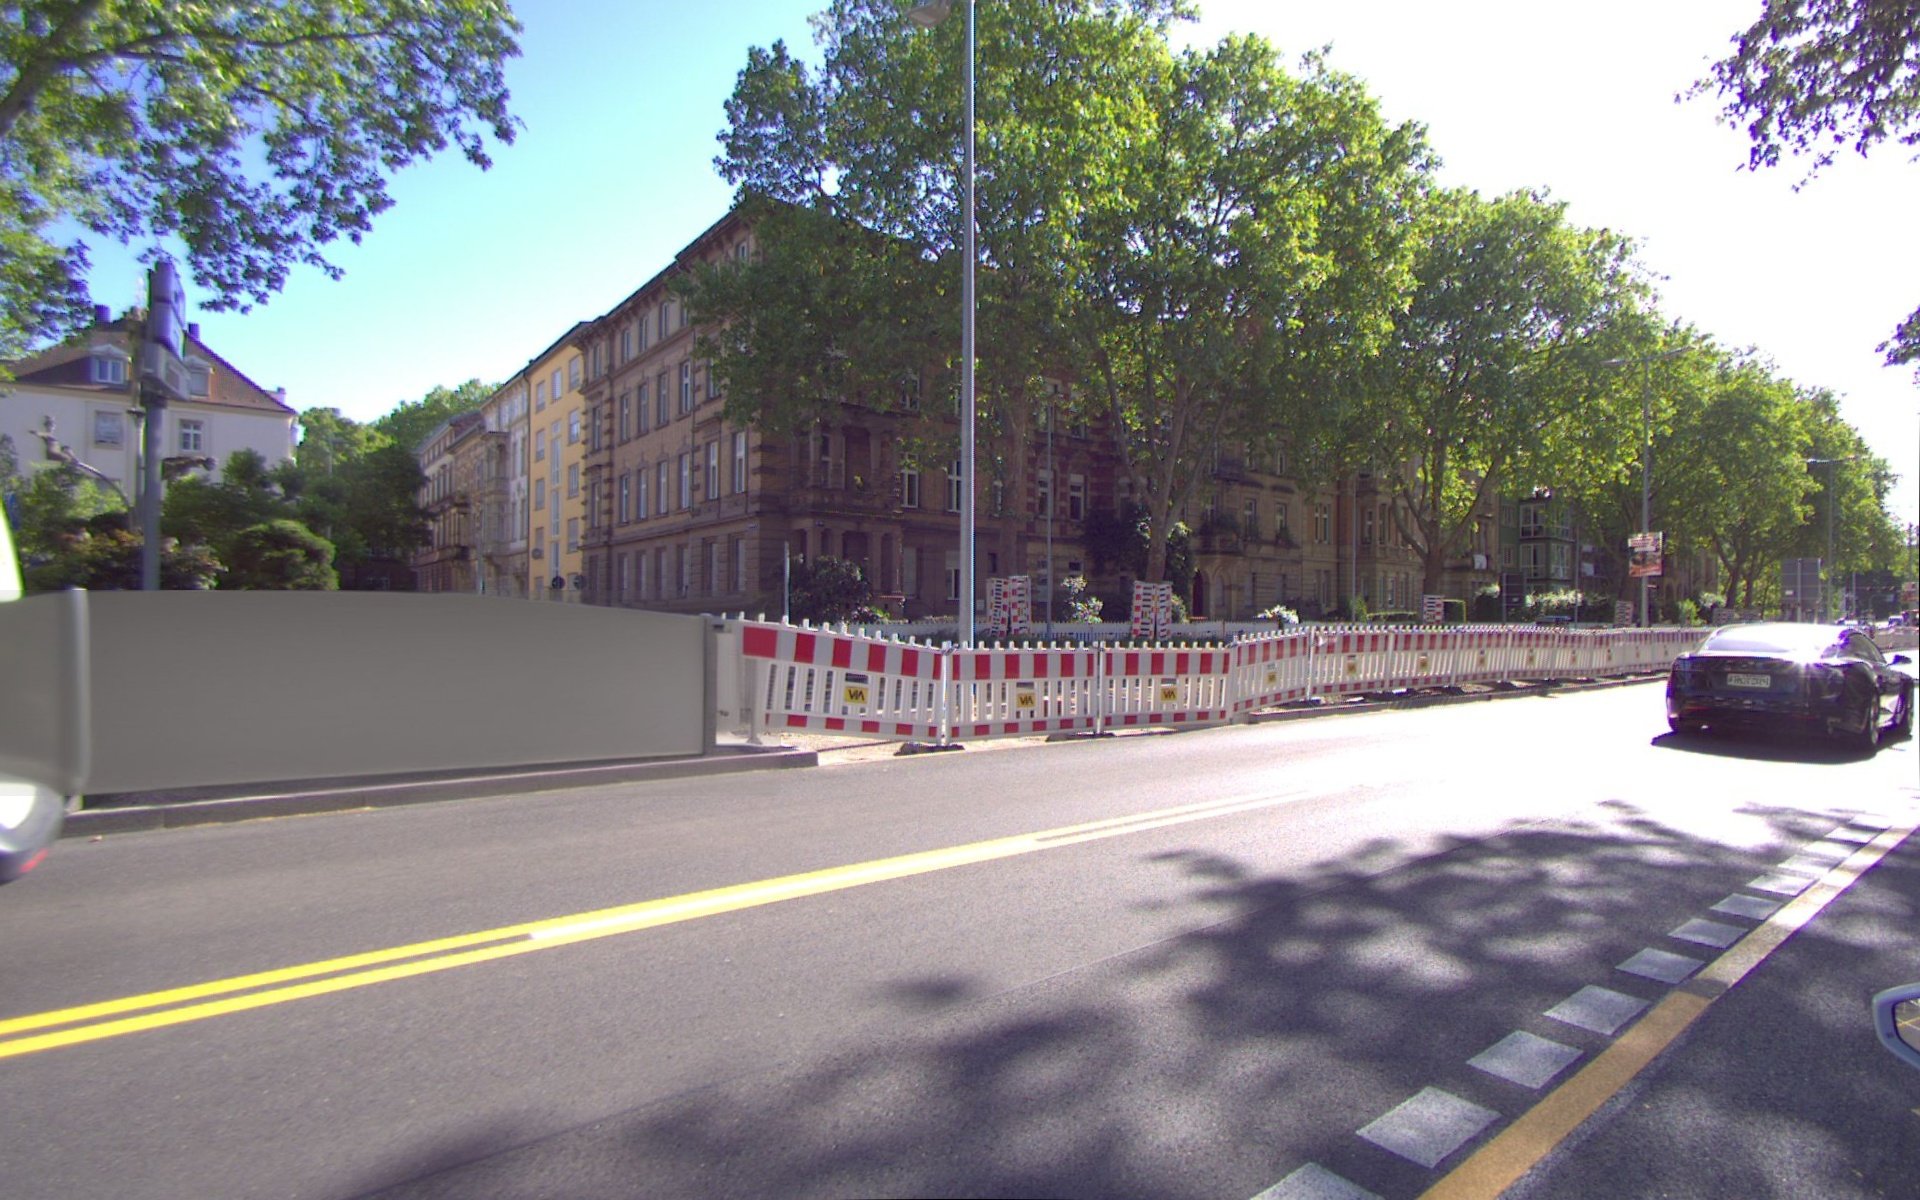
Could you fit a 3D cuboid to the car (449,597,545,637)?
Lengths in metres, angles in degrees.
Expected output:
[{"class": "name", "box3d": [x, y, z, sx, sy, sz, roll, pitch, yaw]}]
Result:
[{"class": "car", "box3d": [-21.182, 0.787, 45.991, 3.769, 1.759, 1.606, 1, -1, -37]}]

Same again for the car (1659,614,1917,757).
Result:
[{"class": "car", "box3d": [10.775, 0.969, 12.949, 4.440, 1.503, 1.822, 1, -1, -40]}]

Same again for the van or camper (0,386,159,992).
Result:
[{"class": "van or camper", "box3d": [-5.556, 0.247, 2.687, 5.285, 2.040, 1.977, 1, 0, -40]}]

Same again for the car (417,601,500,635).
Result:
[{"class": "car", "box3d": [-26.841, 0.973, 53.779, 3.769, 1.759, 1.606, 1, -1, -37]}]

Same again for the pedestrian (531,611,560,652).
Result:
[{"class": "pedestrian", "box3d": [-17.263, 1.313, 41.807, 0.812, 1.682, 0.760, 0, -1, 26]}]
